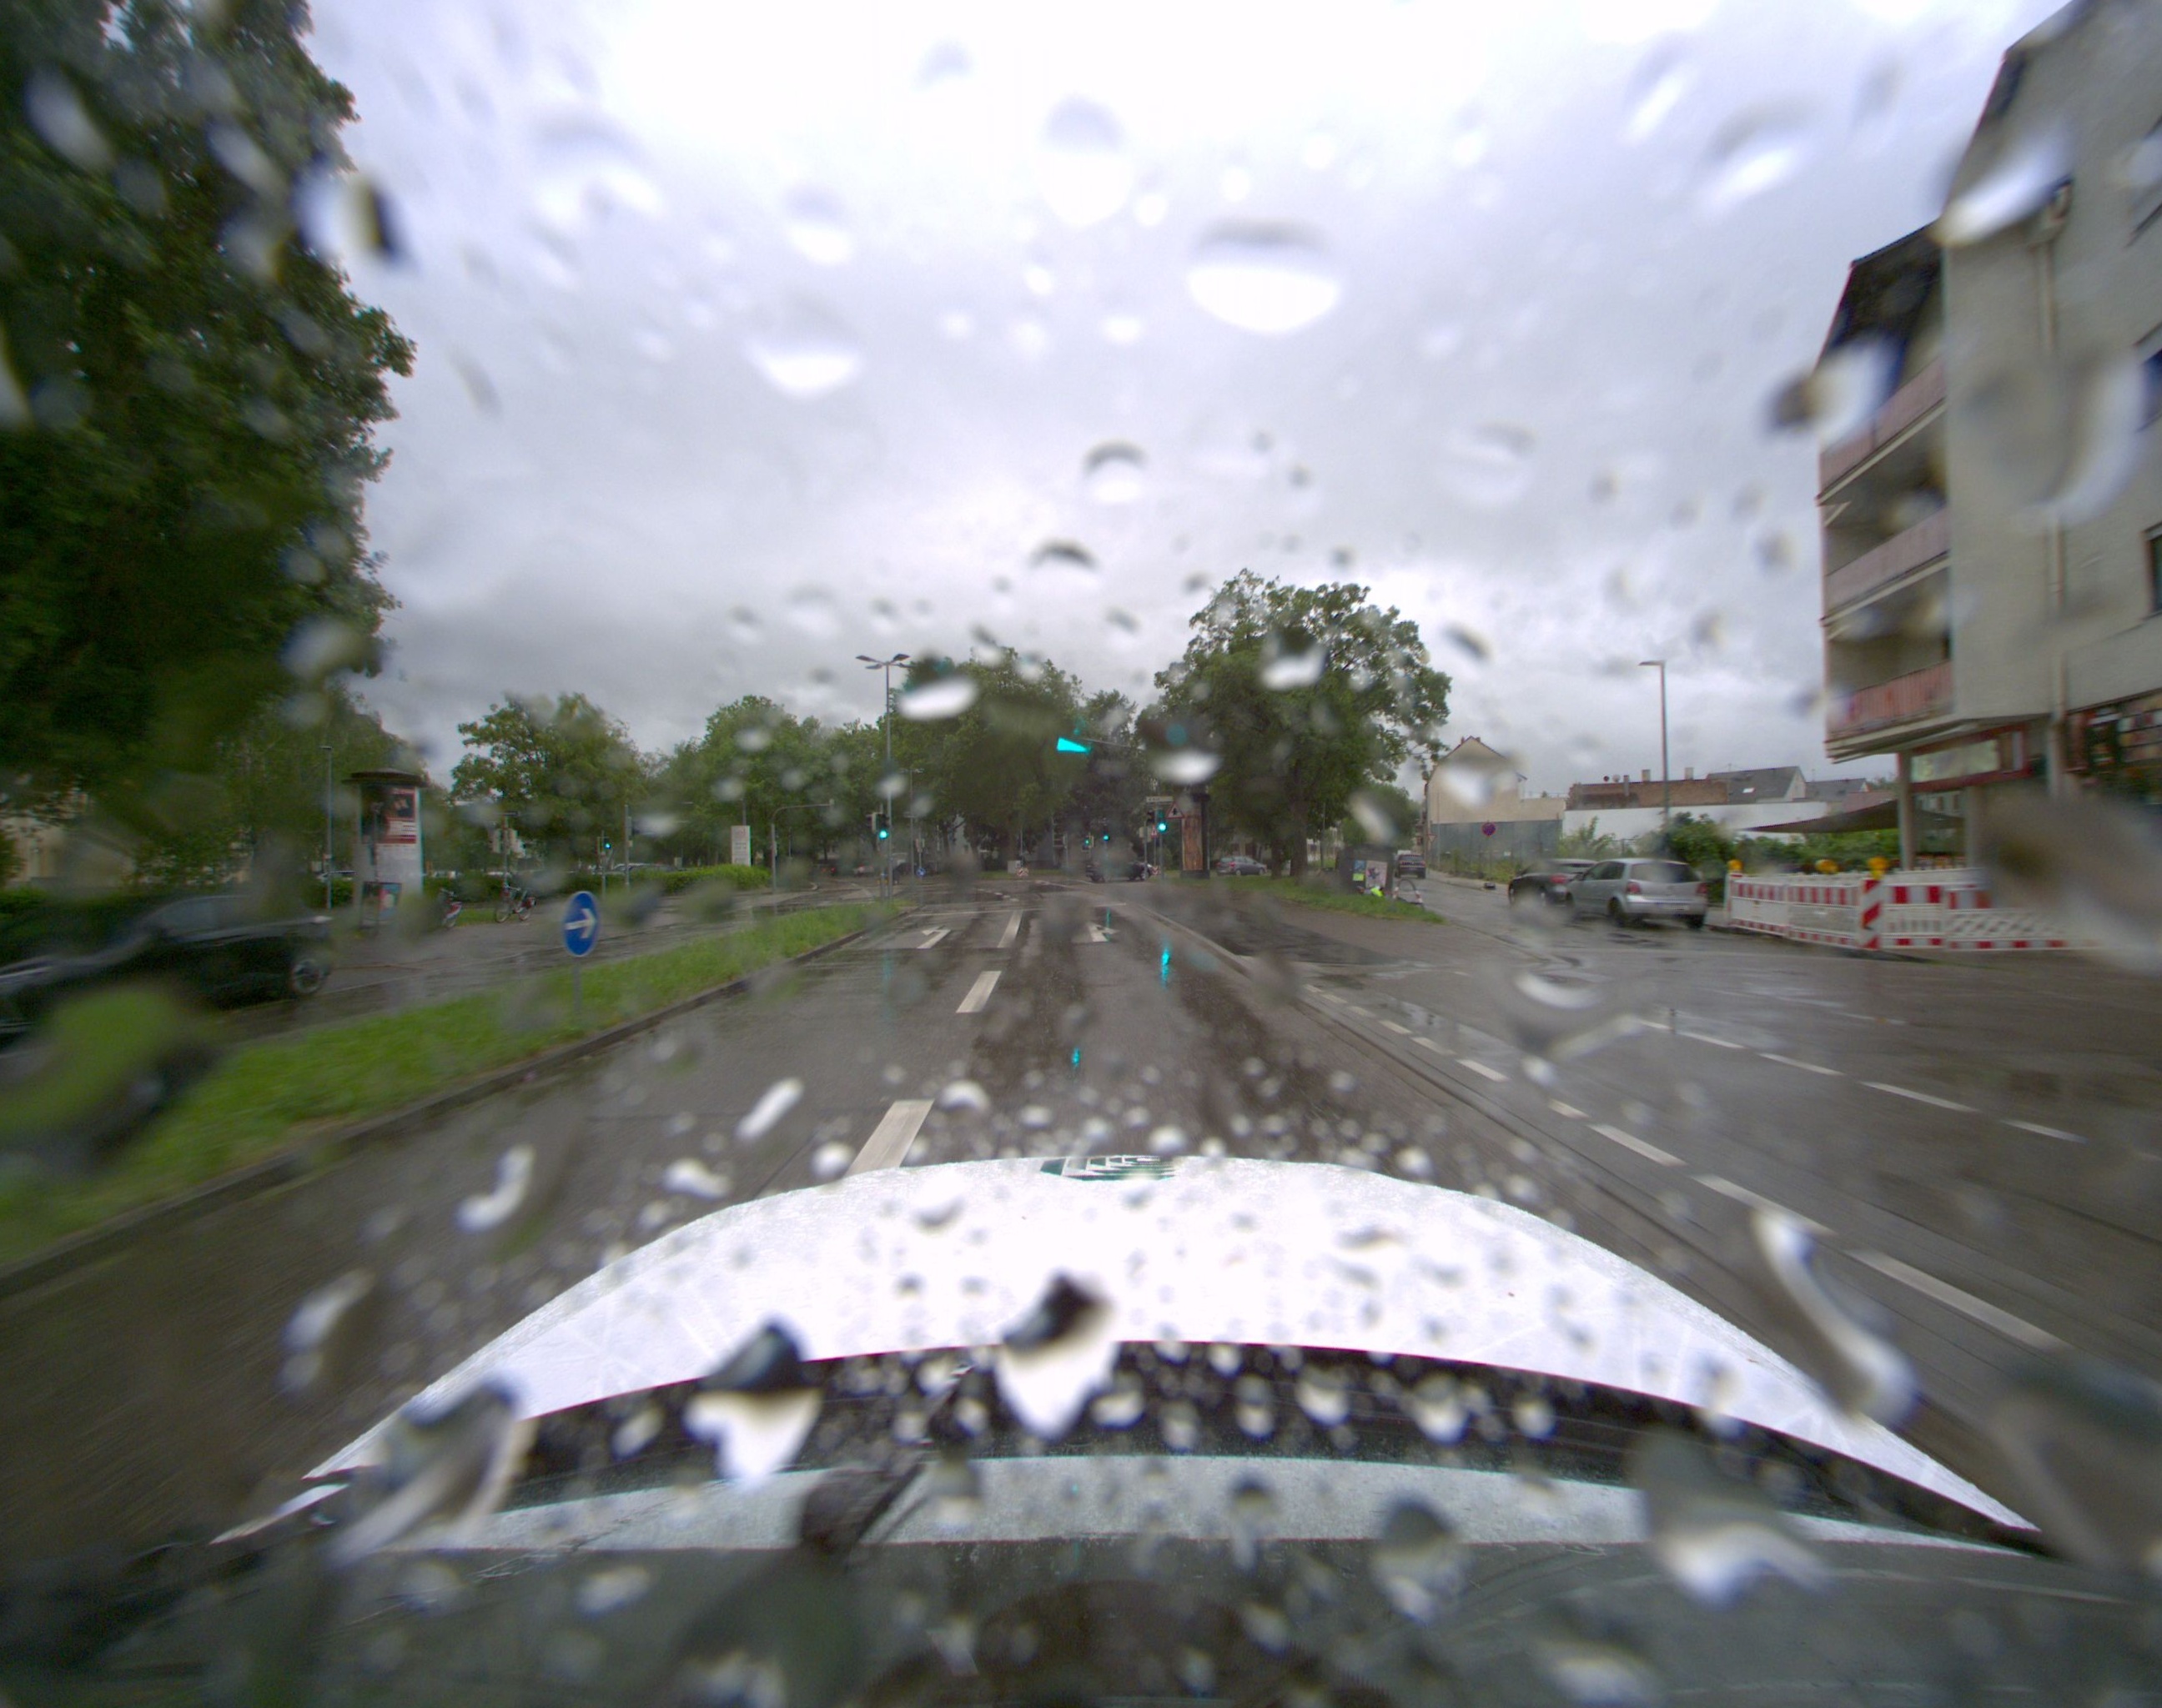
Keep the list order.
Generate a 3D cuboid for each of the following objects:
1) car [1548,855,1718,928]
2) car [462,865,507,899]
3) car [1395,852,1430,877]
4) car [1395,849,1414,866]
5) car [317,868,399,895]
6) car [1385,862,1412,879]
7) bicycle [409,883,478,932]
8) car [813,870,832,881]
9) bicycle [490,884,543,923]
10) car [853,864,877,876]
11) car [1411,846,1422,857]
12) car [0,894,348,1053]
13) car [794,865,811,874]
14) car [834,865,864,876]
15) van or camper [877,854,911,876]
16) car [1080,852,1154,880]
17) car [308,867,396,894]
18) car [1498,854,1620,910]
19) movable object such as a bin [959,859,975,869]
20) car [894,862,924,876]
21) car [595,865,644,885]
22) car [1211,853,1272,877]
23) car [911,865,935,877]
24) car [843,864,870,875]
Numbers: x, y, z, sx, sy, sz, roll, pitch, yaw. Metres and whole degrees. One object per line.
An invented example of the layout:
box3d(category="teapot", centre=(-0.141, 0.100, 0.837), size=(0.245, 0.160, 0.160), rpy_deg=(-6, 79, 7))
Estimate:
box3d(category="car", centre=(12.209, 0.777, 18.347), size=(1.624, 1.433, 4.189), rpy_deg=(-1, -1, 11))
box3d(category="car", centre=(-32.453, 1.488, 44.242), size=(1.791, 1.686, 3.978), rpy_deg=(-1, 0, -39))
box3d(category="car", centre=(22.443, 0.700, 55.275), size=(1.839, 1.654, 4.324), rpy_deg=(-1, -1, 17))
box3d(category="car", centre=(45.548, 0.497, 114.653), size=(2.329, 2.208, 4.638), rpy_deg=(-1, -1, 24))
box3d(category="car", centre=(-50.426, 1.921, 56.897), size=(4.015, 1.686, 1.979), rpy_deg=(-2, 0, -33))
box3d(category="car", centre=(29.831, 1.567, 76.412), size=(1.955, 1.549, 4.557), rpy_deg=(-1, -1, 27))
box3d(category="bicycle", centre=(-16.549, 1.363, 21.197), size=(0.697, 1.186, 1.619), rpy_deg=(0, -1, -8))
box3d(category="car", centre=(-36.969, 3.081, 116.357), size=(1.718, 1.411, 3.607), rpy_deg=(-3, 1, -32))
box3d(category="bicycle", centre=(-17.001, 1.478, 24.564), size=(0.555, 1.077, 1.790), rpy_deg=(0, -1, -8))
box3d(category="car", centre=(-26.317, 1.963, 99.050), size=(1.718, 1.411, 3.607), rpy_deg=(-3, 1, -32))
box3d(category="car", centre=(67.871, -0.503, 164.800), size=(1.976, 2.014, 4.022), rpy_deg=(-1, -1, 23))
box3d(category="car", centre=(-11.449, 1.265, 9.867), size=(1.541, 1.397, 4.187), rpy_deg=(0, -1, -4))
box3d(category="car", centre=(-44.379, 2.489, 129.598), size=(1.718, 1.411, 3.607), rpy_deg=(-3, 1, -32))
box3d(category="car", centre=(-35.487, 2.510, 124.608), size=(2.009, 1.601, 4.025), rpy_deg=(-1, -1, 31))
box3d(category="van or camper", centre=(-23.984, 1.444, 104.456), size=(2.334, 2.807, 6.797), rpy_deg=(0, -1, -30))
box3d(category="car", centre=(2.307, 0.757, 51.881), size=(4.315, 1.744, 1.982), rpy_deg=(0, -1, -28))
box3d(category="car", centre=(-47.118, 1.691, 52.760), size=(4.016, 1.519, 1.979), rpy_deg=(-2, 0, -34))
box3d(category="car", centre=(13.513, 0.756, 23.299), size=(1.687, 1.433, 4.169), rpy_deg=(-1, -1, 11))
box3d(category="movable object such as a bin", centre=(-15.520, 1.357, 110.797), size=(1.839, 1.432, 1.224), rpy_deg=(-1, -1, 40))
box3d(category="car", centre=(-20.470, 1.794, 96.731), size=(1.929, 1.620, 4.407), rpy_deg=(0, -3, -33))
box3d(category="car", centre=(-44.632, 1.979, 78.805), size=(4.017, 1.833, 1.834), rpy_deg=(0, -1, -36))
box3d(category="car", centre=(11.249, 0.776, 56.965), size=(4.108, 1.602, 1.977), rpy_deg=(0, -1, -39))
box3d(category="car", centre=(-18.043, 1.946, 92.892), size=(1.558, 1.390, 4.110), rpy_deg=(0, -1, -30))
box3d(category="car", centre=(-33.141, 2.326, 120.269), size=(1.780, 1.601, 3.791), rpy_deg=(-1, -1, 28))
